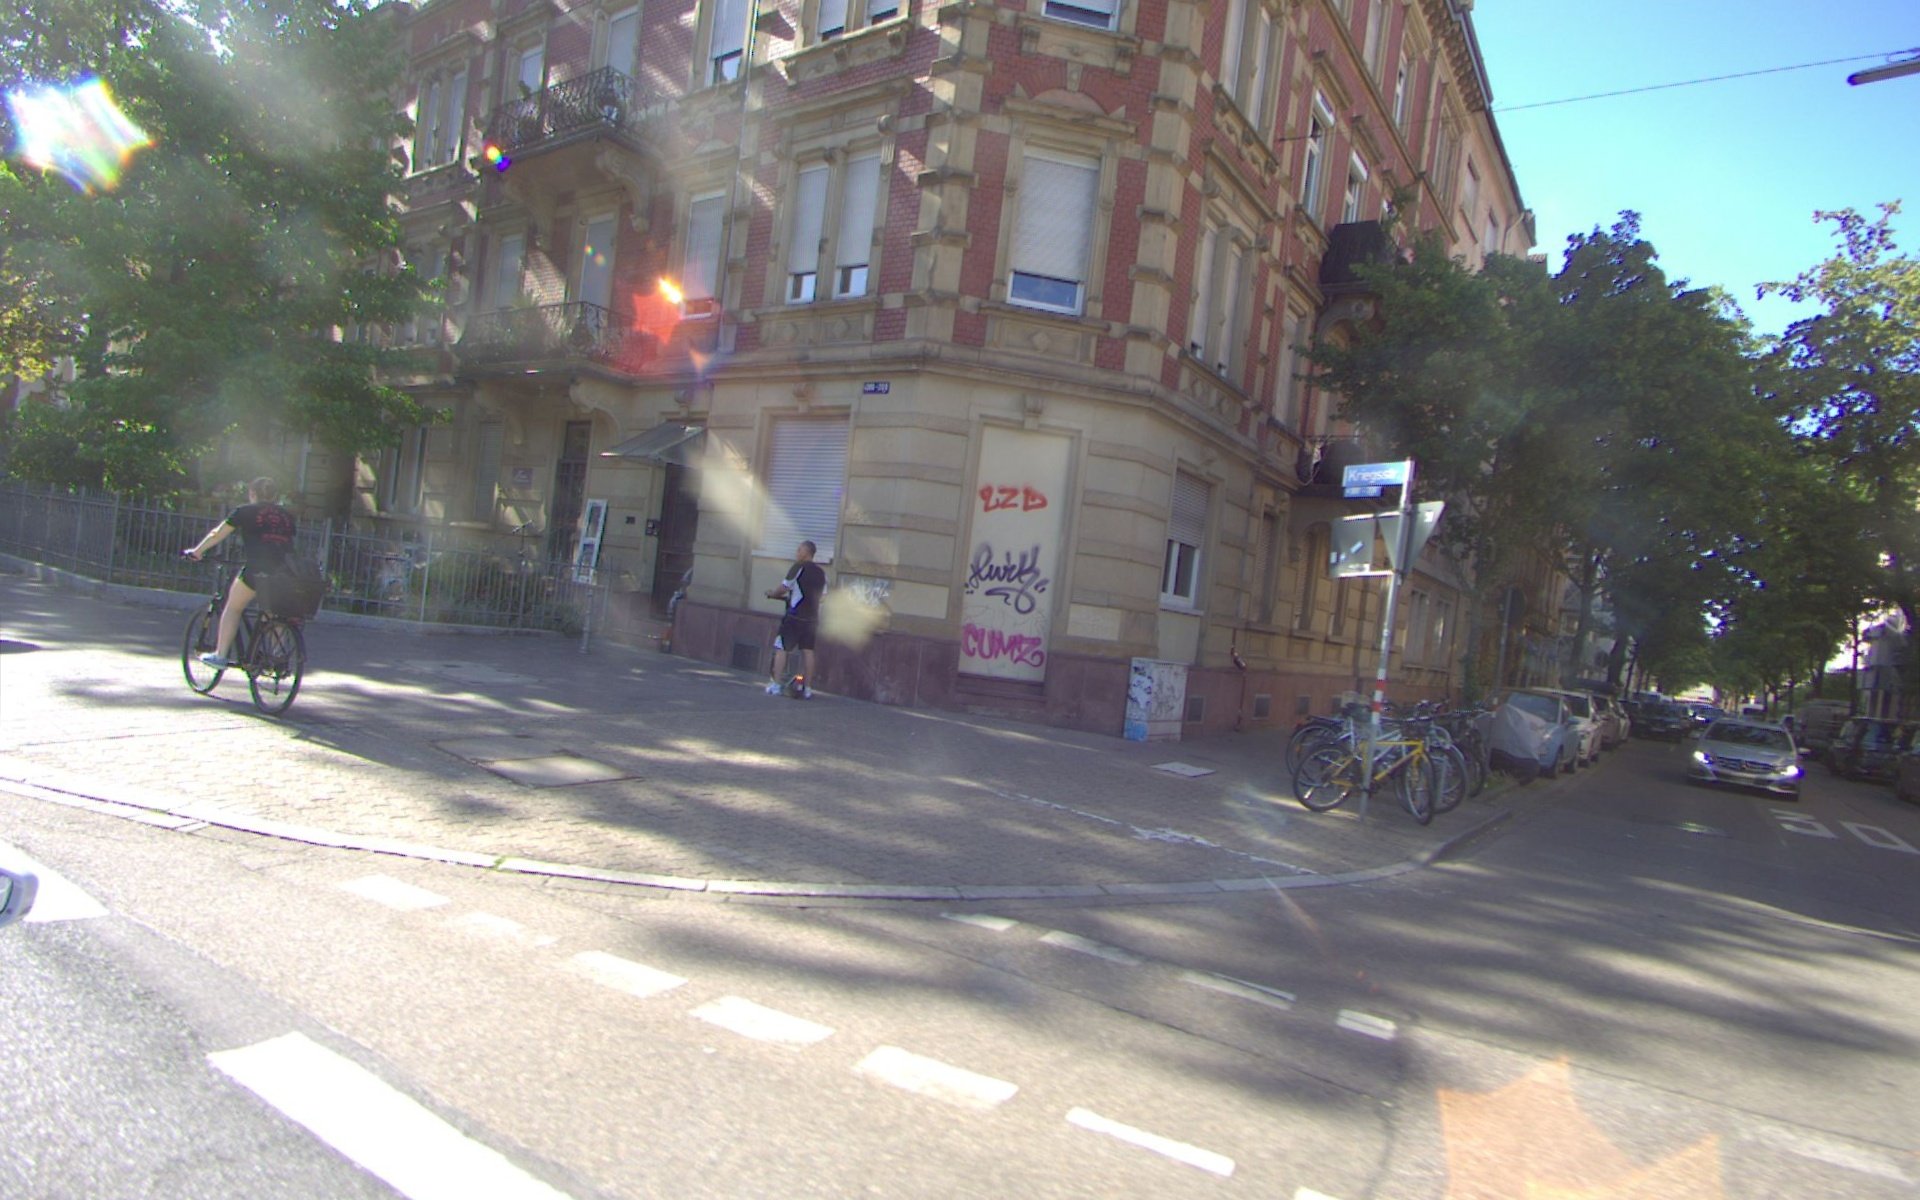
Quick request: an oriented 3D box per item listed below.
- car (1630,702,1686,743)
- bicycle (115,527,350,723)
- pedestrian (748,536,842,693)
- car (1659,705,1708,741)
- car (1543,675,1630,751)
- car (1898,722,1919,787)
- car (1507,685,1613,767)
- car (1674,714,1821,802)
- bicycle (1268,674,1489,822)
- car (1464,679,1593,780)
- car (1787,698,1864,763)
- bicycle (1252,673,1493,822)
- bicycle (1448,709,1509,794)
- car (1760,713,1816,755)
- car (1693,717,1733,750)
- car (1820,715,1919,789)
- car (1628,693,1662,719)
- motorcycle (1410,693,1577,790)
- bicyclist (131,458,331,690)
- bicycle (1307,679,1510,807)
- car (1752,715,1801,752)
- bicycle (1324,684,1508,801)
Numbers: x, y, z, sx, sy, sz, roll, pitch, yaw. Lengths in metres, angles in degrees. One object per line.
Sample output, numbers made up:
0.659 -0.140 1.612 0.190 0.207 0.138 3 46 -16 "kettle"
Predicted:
30.417 5.336 43.795 1.734 1.543 3.987 3 -4 38 "car"
-5.579 0.151 7.676 1.928 1.235 0.741 7 2 33 "bicycle"
-2.028 0.176 12.355 0.740 1.836 0.656 3 -3 36 "pedestrian"
37.214 6.308 51.709 1.733 1.544 3.813 7 -1 38 "car"
18.934 3.430 30.334 1.734 1.982 3.987 3 -4 38 "car"
22.723 3.583 22.443 2.069 1.450 4.819 5 -3 38 "car"
13.925 2.903 23.241 1.540 1.528 4.227 7 -2 37 "car"
16.575 3.273 21.380 1.968 1.395 3.993 6 -3 33 "car"
4.391 1.521 10.653 1.941 1.108 0.579 10 1 38 "bicycle"
10.889 2.452 19.179 1.539 1.486 3.244 10 0 37 "car"
37.209 5.602 43.362 2.069 2.403 4.819 5 -3 38 "car"
3.842 1.369 9.398 1.939 1.108 0.693 7 0 -13 "bicycle"
7.419 2.130 14.365 0.552 1.002 1.836 12 2 29 "bicycle"
46.133 7.455 56.139 2.069 1.966 4.819 5 -3 38 "car"
52.851 9.359 70.608 2.069 1.966 4.819 5 -3 38 "car"
28.293 4.666 31.177 2.069 1.887 4.819 5 -3 38 "car"
50.202 7.788 73.661 1.734 1.684 3.987 3 -4 38 "car"
8.809 2.310 16.771 0.984 1.299 2.408 6 -3 -17 "motorcycle"
-5.612 -0.200 7.746 1.082 1.599 0.743 8 0 33 "bicyclist"
5.295 1.650 11.949 2.001 1.145 0.727 7 0 36 "bicycle"
51.030 8.340 62.971 2.069 1.966 4.819 5 -3 38 "car"
5.876 1.807 13.035 2.001 1.145 0.560 7 0 36 "bicycle"
